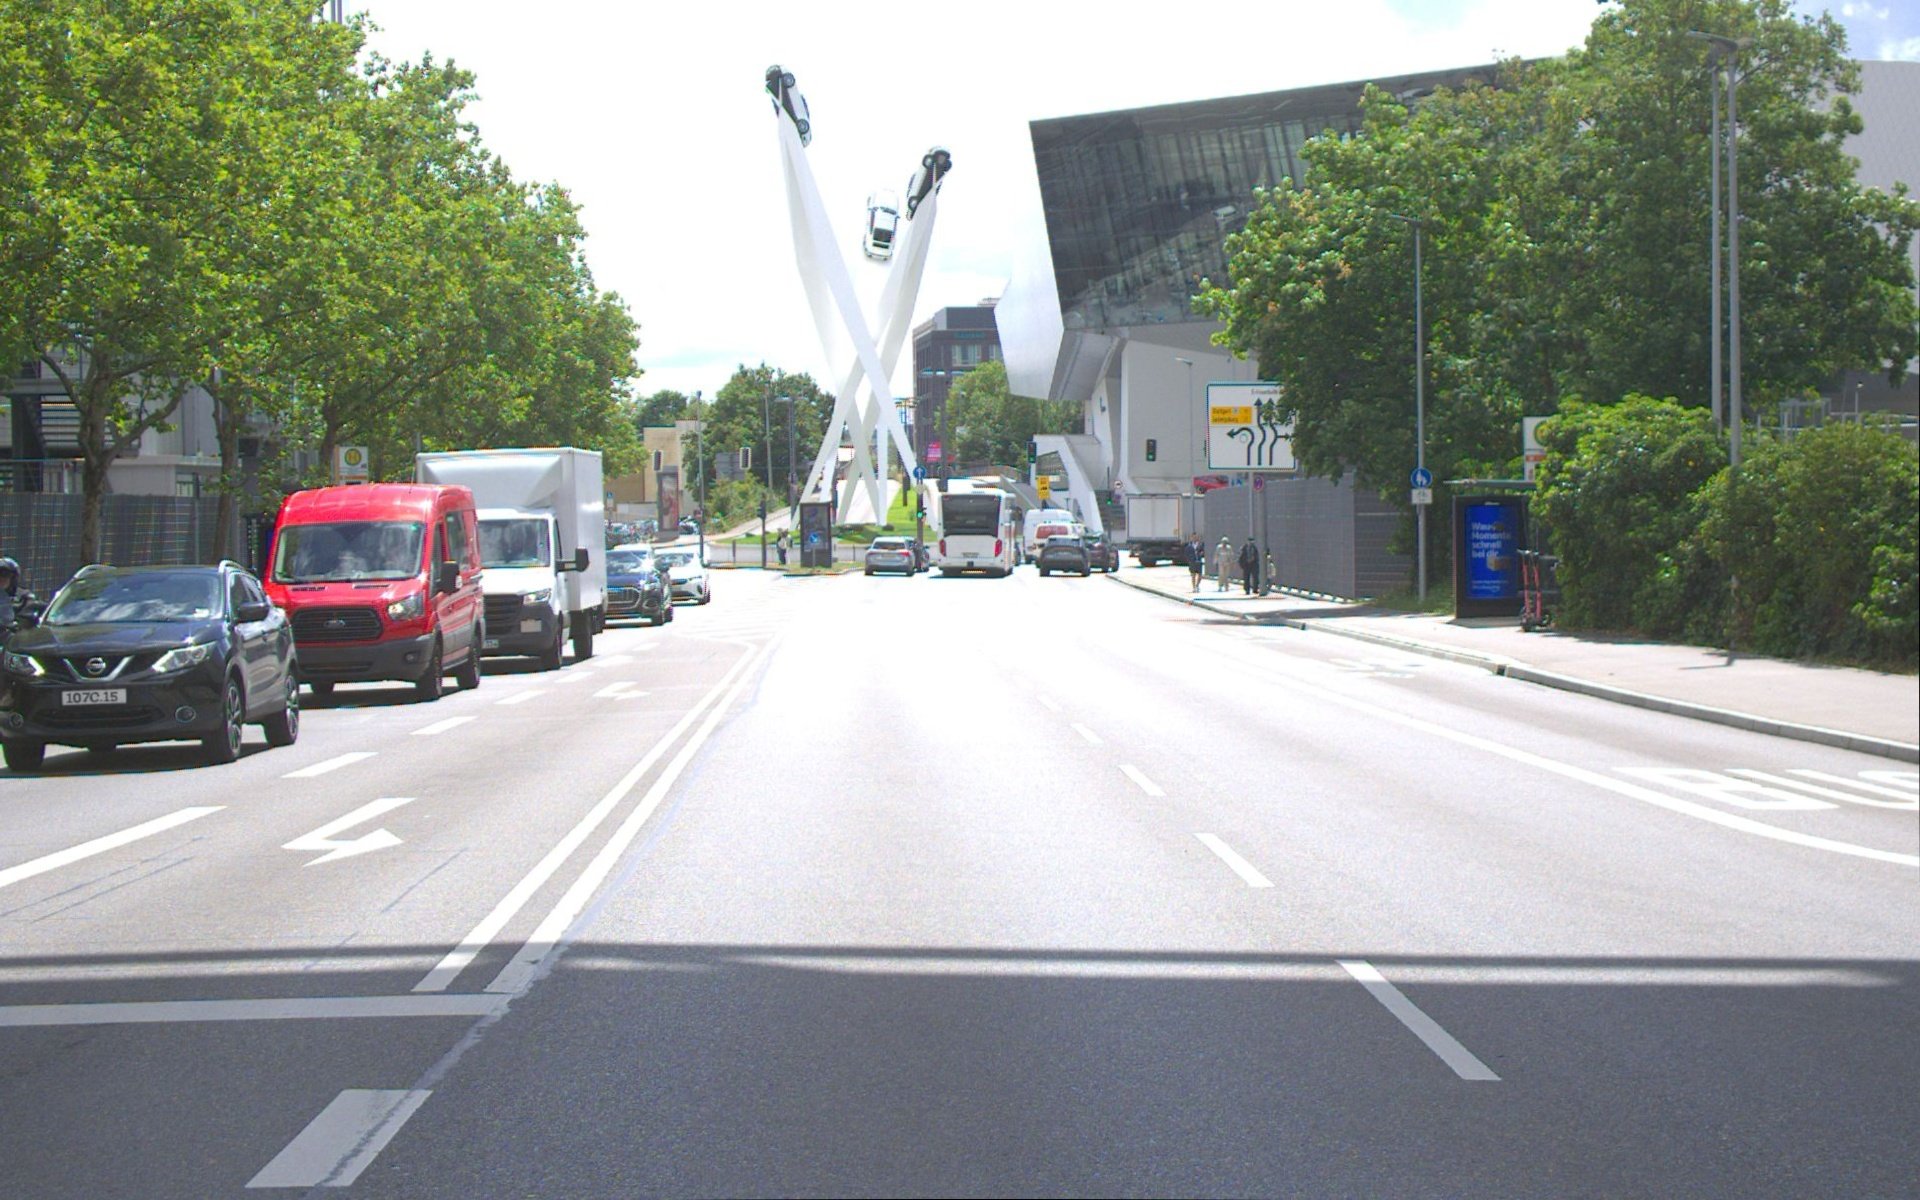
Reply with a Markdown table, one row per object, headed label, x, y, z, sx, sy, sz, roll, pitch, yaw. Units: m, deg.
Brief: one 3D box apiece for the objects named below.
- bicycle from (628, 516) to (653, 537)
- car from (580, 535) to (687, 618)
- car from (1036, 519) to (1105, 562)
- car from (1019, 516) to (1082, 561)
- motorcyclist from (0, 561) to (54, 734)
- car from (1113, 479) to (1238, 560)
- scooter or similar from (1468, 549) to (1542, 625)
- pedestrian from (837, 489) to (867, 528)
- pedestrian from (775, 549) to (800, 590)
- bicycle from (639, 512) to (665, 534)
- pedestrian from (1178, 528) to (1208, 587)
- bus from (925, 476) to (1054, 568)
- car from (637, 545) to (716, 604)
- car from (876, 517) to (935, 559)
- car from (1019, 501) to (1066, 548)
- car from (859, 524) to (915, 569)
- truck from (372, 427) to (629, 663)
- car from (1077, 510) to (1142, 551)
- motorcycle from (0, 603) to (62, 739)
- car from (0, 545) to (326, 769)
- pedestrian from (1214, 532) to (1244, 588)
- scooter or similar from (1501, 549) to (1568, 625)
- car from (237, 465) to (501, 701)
| label | x | y | z | sx | sy | sz | roll | pitch | yaw |
| --- | --- | --- | --- | --- | --- | --- | --- | --- | --- |
| bicycle | -20.688 | -4.772 | 222.525 | 1.605 | 1.312 | 0.493 | 1 | 0 | -1 |
| car | -6.670 | -0.499 | 70.553 | 1.740 | 1.575 | 4.267 | -2 | 1 | 0 |
| car | 4.308 | -2.316 | 133.648 | 1.994 | 1.631 | 3.998 | 1 | 2 | 12 |
| car | 4.021 | -2.712 | 152.222 | 1.994 | 1.926 | 4.238 | 1 | 1 | 12 |
| motorcyclist | -9.133 | 0.438 | 32.807 | 0.733 | 1.617 | 1.095 | 1 | 0 | -4 |
| car | 9.888 | -3.636 | 156.621 | 3.338 | 3.492 | 9.333 | 1 | 1 | 18 |
| scooter or similar | 8.845 | -0.220 | 55.755 | 0.542 | 1.159 | 2.125 | -1 | 1 | 26 |
| pedestrian | -5.397 | -4.600 | 172.363 | 1.281 | 1.810 | 0.987 | -4 | 5 | -9 |
| pedestrian | -7.574 | -1.345 | 150.884 | 0.863 | 1.767 | 1.036 | 1 | 0 | -14 |
| bicycle | -20.065 | -5.012 | 224.008 | 1.605 | 1.378 | 0.493 | 1 | 0 | -1 |
| pedestrian | 6.783 | -1.238 | 100.071 | 0.794 | 1.715 | 0.732 | 1 | 0 | -1 |
| bus | 1.260 | -2.961 | 133.651 | 3.073 | 3.350 | 12.218 | 1 | 1 | 10 |
| car | -7.316 | -0.691 | 89.036 | 1.691 | 1.410 | 4.146 | -2 | 1 | -1 |
| car | -2.197 | -2.485 | 139.156 | 1.994 | 1.631 | 3.999 | 1 | 1 | 5 |
| car | 4.014 | -3.650 | 166.957 | 1.994 | 2.163 | 4.655 | 1 | 1 | 5 |
| car | -2.745 | -2.008 | 129.918 | 1.993 | 1.631 | 4.000 | 1 | 1 | 0 |
| truck | -6.503 | -0.773 | 49.636 | 2.452 | 3.118 | 7.243 | 1 | 1 | 2 |
| car | 6.154 | -2.853 | 141.430 | 1.994 | 1.631 | 3.998 | 1 | 1 | 12 |
| motorcycle | -9.123 | 0.653 | 32.757 | 0.674 | 1.215 | 2.377 | 1 | 1 | -4 |
| car | -6.482 | 0.414 | 28.205 | 1.736 | 1.678 | 4.214 | 1 | 1 | 0 |
| pedestrian | 7.810 | -1.160 | 99.912 | 0.794 | 1.591 | 0.732 | 1 | 0 | -1 |
| scooter or similar | 9.178 | -0.215 | 54.863 | 0.542 | 1.159 | 1.790 | -1 | 1 | 27 |
| car | -6.770 | -0.236 | 39.987 | 2.063 | 2.498 | 5.480 | -2 | 1 | 0 |
